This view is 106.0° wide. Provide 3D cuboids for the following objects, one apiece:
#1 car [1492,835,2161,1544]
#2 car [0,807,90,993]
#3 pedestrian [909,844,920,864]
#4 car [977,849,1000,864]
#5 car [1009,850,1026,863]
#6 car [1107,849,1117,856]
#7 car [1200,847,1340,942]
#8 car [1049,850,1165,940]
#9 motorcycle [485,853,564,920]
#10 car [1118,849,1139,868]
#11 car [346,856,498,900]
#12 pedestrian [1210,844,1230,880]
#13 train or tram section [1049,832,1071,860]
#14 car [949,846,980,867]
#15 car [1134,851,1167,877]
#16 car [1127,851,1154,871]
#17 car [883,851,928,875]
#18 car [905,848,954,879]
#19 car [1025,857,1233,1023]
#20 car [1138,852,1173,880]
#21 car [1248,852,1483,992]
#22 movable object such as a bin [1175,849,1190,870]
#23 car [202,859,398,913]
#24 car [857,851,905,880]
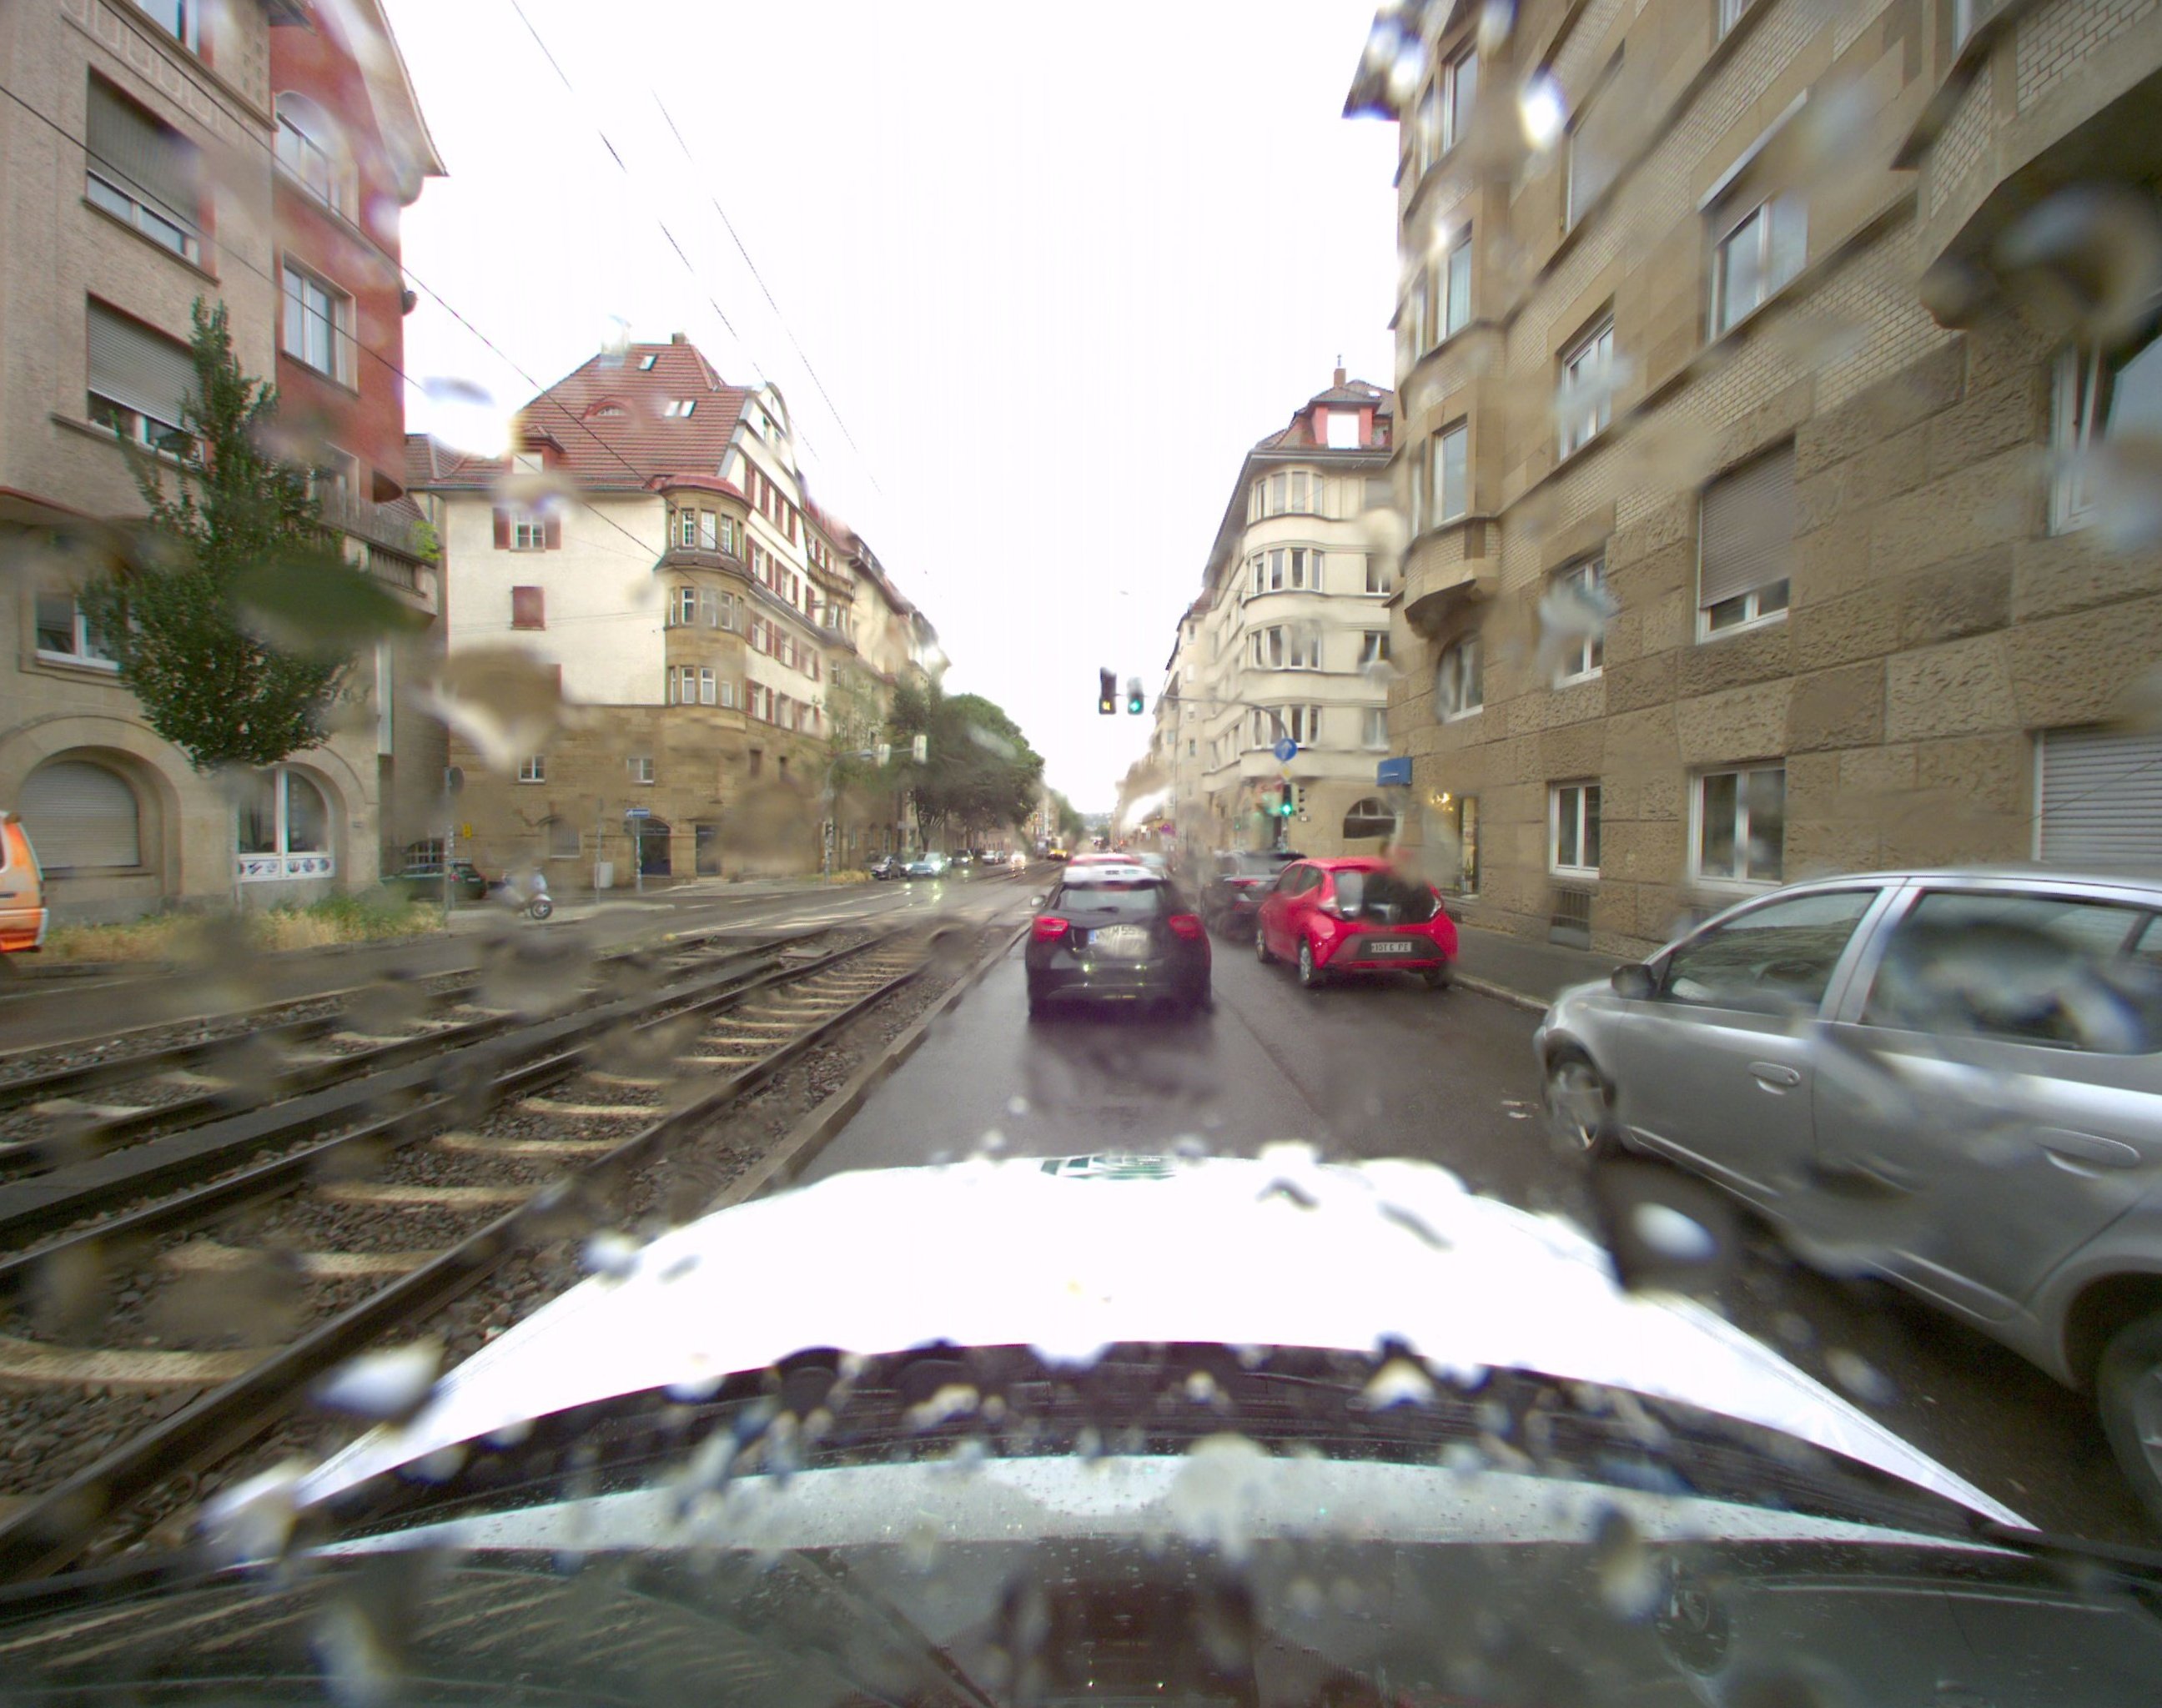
[{"bbox_3d":[3.092,0.690,2.876,1.588,1.487,3.524,-1,0,2],"label":"car"},{"bbox_3d":[-12.090,0.473,6.960,1.722,1.930,4.476,0,-1,0],"label":"car"},{"bbox_3d":[-13.970,-0.031,68.459,0.726,1.663,0.771,0,0,1],"label":"pedestrian"},{"bbox_3d":[-10.141,0.291,89.481,1.954,1.605,4.329,1,1,1],"label":"car"},{"bbox_3d":[-7.706,0.308,99.429,1.775,1.502,4.062,0,-1,0],"label":"car"},{"bbox_3d":[6.600,-0.263,171.818,1.879,1.525,4.249,1,0,3],"label":"car"},{"bbox_3d":[3.431,0.676,15.551,1.860,1.549,3.992,1,0,2],"label":"car"},{"bbox_3d":[0.511,0.709,16.129,1.986,1.525,4.247,1,0,2],"label":"car"},{"bbox_3d":[-12.026,0.686,17.589,1.761,1.375,0.772,-1,-1,33],"label":"motorcycle"},{"bbox_3d":[4.356,0.403,74.282,1.833,1.608,4.765,-1,-1,4],"label":"car"},{"bbox_3d":[-24.459,0.871,30.359,3.977,1.574,1.998,0,-1,-2],"label":"car"},{"bbox_3d":[6.496,0.374,38.014,0.801,1.687,0.754,0,-1,1],"label":"pedestrian"},{"bbox_3d":[-3.119,-1.165,126.159,2.736,4.061,17.216,0,0,1],"label":"train or tram section"},{"bbox_3d":[-10.286,0.186,72.225,1.946,1.742,4.778,3,1,0],"label":"car"},{"bbox_3d":[4.103,0.611,48.767,1.705,1.468,4.775,0,-1,2],"label":"car"},{"bbox_3d":[4.475,0.532,61.722,1.783,1.385,4.396,0,-1,1],"label":"car"},{"bbox_3d":[-11.008,0.564,51.396,1.775,1.460,4.978,0,-1,0],"label":"car"},{"bbox_3d":[-8.245,0.520,44.723,1.915,1.617,4.128,0,-1,0],"label":"car"},{"bbox_3d":[0.487,0.768,9.134,1.828,1.453,3.903,0,0,2],"label":"car"},{"bbox_3d":[3.902,0.611,43.401,1.703,1.410,4.821,-1,-1,3],"label":"car"},{"bbox_3d":[3.335,0.710,10.277,1.700,1.453,3.531,1,0,-1],"label":"car"},{"bbox_3d":[7.397,0.416,59.483,0.976,1.468,1.273,0,-1,1],"label":"movable object such as a bin"},{"bbox_3d":[-22.469,0.894,23.537,3.972,1.467,1.747,0,-1,1],"label":"car"},{"bbox_3d":[-11.205,0.638,45.840,1.684,1.529,4.175,0,-1,0],"label":"car"}]
